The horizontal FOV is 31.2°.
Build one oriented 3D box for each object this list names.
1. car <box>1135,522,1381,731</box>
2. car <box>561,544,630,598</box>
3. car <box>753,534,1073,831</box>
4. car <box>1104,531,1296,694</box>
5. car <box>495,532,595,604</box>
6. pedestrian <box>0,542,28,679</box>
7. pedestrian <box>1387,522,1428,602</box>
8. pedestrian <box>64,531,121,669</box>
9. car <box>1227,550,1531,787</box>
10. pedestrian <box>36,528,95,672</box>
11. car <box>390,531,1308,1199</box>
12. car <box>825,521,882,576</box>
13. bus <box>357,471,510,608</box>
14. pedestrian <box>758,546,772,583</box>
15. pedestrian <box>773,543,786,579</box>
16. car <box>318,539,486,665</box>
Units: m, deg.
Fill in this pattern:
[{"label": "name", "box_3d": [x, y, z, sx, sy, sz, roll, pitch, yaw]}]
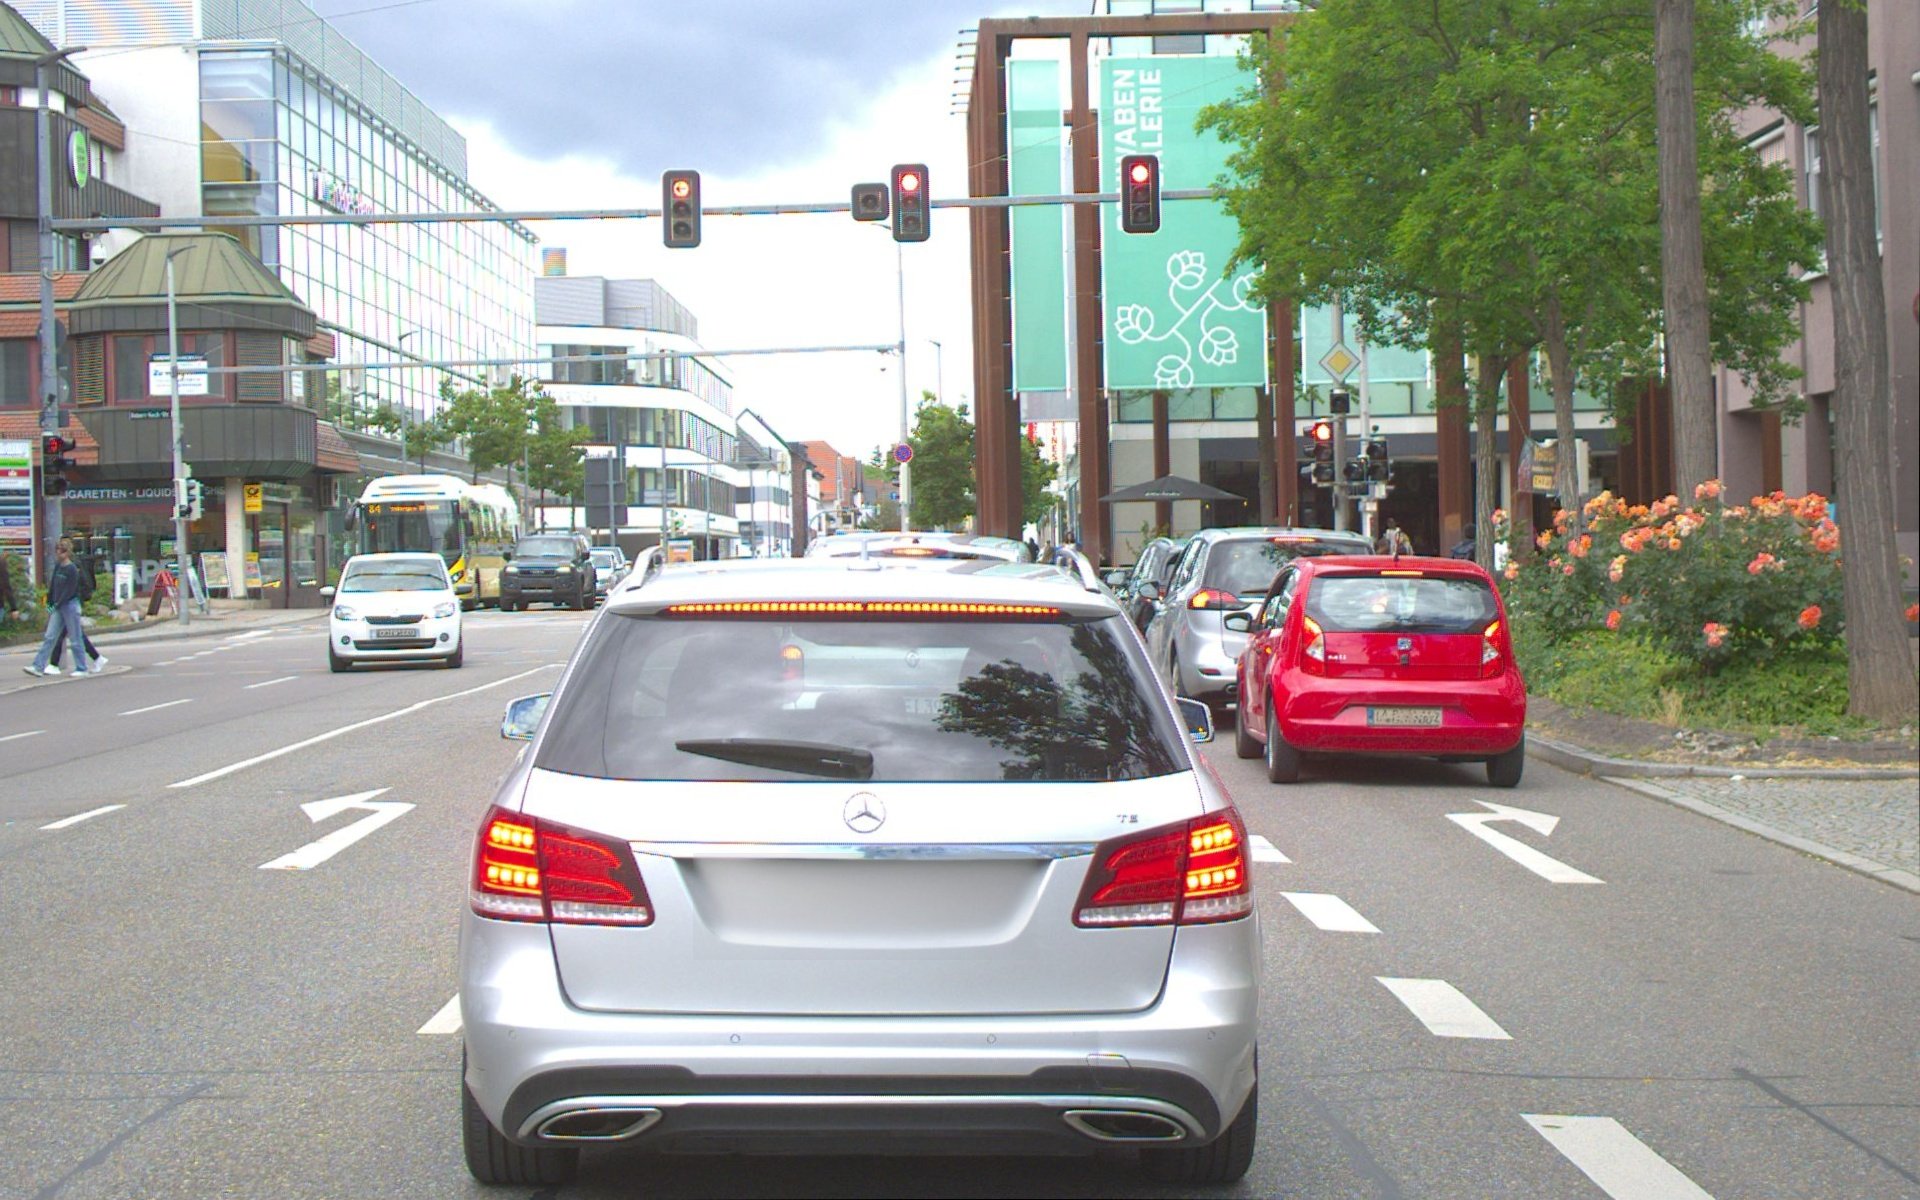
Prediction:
[{"label": "car", "box_3d": [2.449, 0.174, 29.063, 1.586, 1.628, 3.917, 1, 1, -2]}, {"label": "car", "box_3d": [-9.647, -0.788, 91.126, 1.555, 1.387, 3.288, -1, 1, -1]}, {"label": "car", "box_3d": [-0.255, 0.393, 19.376, 1.640, 1.522, 3.394, 0, 1, 0]}, {"label": "car", "box_3d": [2.451, 0.090, 35.933, 1.586, 1.589, 3.868, 1, 1, -2]}, {"label": "car", "box_3d": [-10.057, -0.802, 83.558, 1.993, 1.700, 4.065, -1, 1, -1]}, {"label": "pedestrian", "box_3d": [-11.756, 0.126, 41.861, 0.651, 1.645, 0.559, -1, 1, -3]}, {"label": "pedestrian", "box_3d": [9.318, -0.788, 71.599, 0.651, 1.645, 0.559, -1, 1, -14]}, {"label": "pedestrian", "box_3d": [-11.261, -0.010, 44.634, 0.644, 1.769, 0.570, -1, 1, -18]}, {"label": "car", "box_3d": [2.732, 0.402, 23.025, 1.586, 1.438, 3.348, 1, 1, 0]}, {"label": "pedestrian", "box_3d": [-11.253, -0.011, 43.266, 0.646, 1.784, 0.684, -1, 1, -11]}, {"label": "car", "box_3d": [-0.229, 0.570, 9.065, 1.815, 1.443, 4.369, 1, 1, 0]}, {"label": "car", "box_3d": [-3.856, -1.867, 124.994, 1.993, 1.942, 4.951, -1, 1, -1]}, {"label": "bus", "box_3d": [-13.132, -1.530, 86.419, 2.686, 3.250, 8.654, -1, 1, -1]}, {"label": "pedestrian", "box_3d": [-9.362, -1.710, 165.056, 0.519, 1.728, 0.489, -1, 1, 15]}, {"label": "pedestrian", "box_3d": [-8.699, -1.875, 165.617, 0.519, 1.728, 0.489, -1, 1, 13]}, {"label": "car", "box_3d": [-7.040, -0.011, 43.651, 1.574, 1.483, 3.464, -2, 1, -1]}]
